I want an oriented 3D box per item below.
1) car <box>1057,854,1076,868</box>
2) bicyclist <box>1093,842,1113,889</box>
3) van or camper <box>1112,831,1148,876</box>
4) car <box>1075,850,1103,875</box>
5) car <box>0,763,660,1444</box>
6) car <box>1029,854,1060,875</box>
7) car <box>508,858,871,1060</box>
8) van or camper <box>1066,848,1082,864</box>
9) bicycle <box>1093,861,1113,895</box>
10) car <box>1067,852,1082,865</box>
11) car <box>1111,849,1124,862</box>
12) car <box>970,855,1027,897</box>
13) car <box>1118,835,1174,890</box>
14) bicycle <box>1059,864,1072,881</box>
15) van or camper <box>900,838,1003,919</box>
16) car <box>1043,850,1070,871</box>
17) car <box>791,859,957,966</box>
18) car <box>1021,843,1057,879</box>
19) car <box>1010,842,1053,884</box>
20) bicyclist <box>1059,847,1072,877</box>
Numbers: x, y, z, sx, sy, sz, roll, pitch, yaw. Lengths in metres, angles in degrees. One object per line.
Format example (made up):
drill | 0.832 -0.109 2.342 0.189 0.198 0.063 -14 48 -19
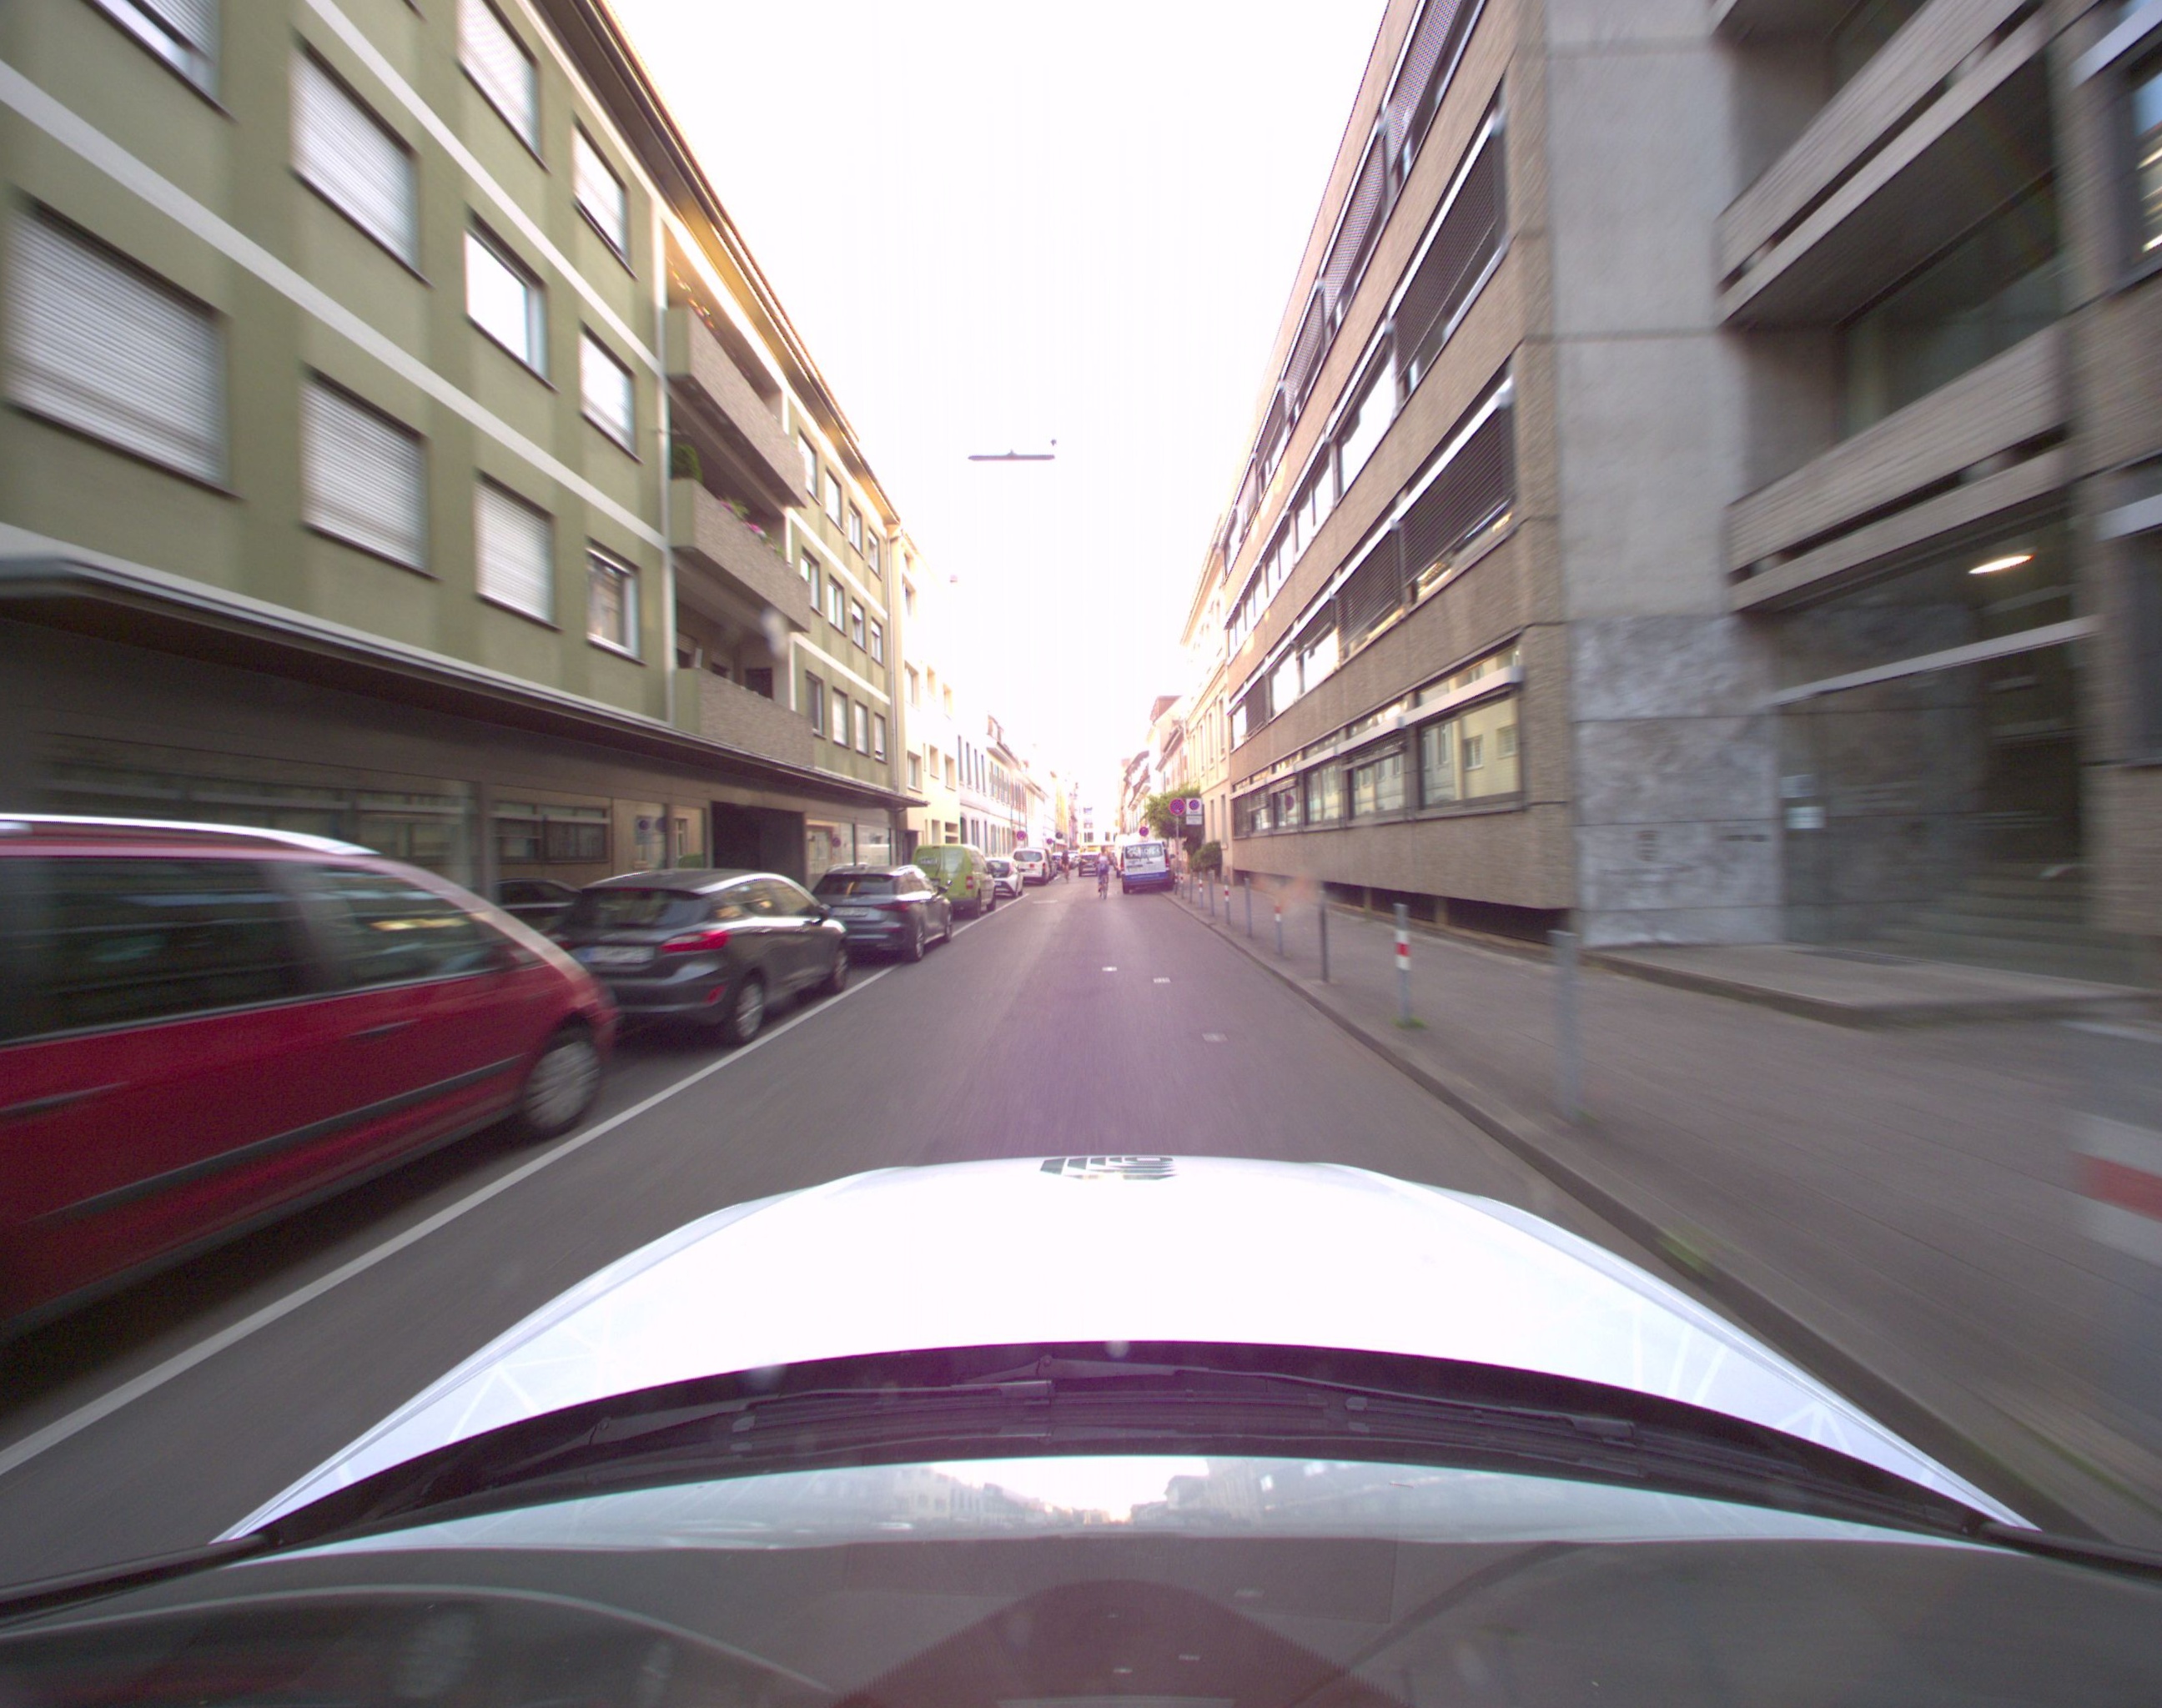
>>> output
car | -1.497 0.714 84.857 1.912 1.434 4.293 -1 0 0
bicyclist | 0.750 0.391 27.652 0.618 1.574 0.684 -1 0 2
van or camper | 3.095 -0.037 51.973 2.042 2.637 7.067 -2 0 3
car | 0.585 0.549 55.551 1.813 1.618 4.001 -1 0 1
car | -3.761 0.676 3.243 1.766 1.811 4.510 -1 0 0
car | -2.514 0.699 56.902 1.758 1.401 4.265 -1 0 2
car | -3.511 0.816 8.194 1.618 1.485 3.879 -2 0 2
van or camper | -0.880 0.302 107.527 1.837 2.013 4.680 -1 0 2
bicycle | 0.761 0.798 27.625 0.611 1.082 1.810 -1 0 3
car | -0.818 0.593 101.675 1.647 1.561 3.607 -1 0 2
car | 4.568 0.189 102.099 1.647 1.561 3.607 -1 0 2
car | -3.036 0.780 30.580 1.656 1.449 3.521 2 0 1
car | 2.559 0.291 32.147 1.927 1.898 5.283 -2 0 4
bicycle | -0.863 1.018 45.133 0.631 0.922 1.780 -1 0 2
van or camper | -3.240 0.567 21.218 1.765 1.848 4.181 -2 0 2
car | -1.993 0.510 67.480 1.795 1.676 4.493 -2 0 3
car | -3.141 0.815 13.160 1.619 1.416 3.980 -1 0 0
car | -2.520 0.394 49.801 1.856 2.013 4.813 -2 0 0
car | -2.586 0.451 43.444 1.856 2.013 5.106 -2 0 0
bicyclist | -0.847 0.428 45.165 0.621 1.639 1.082 -1 0 2
